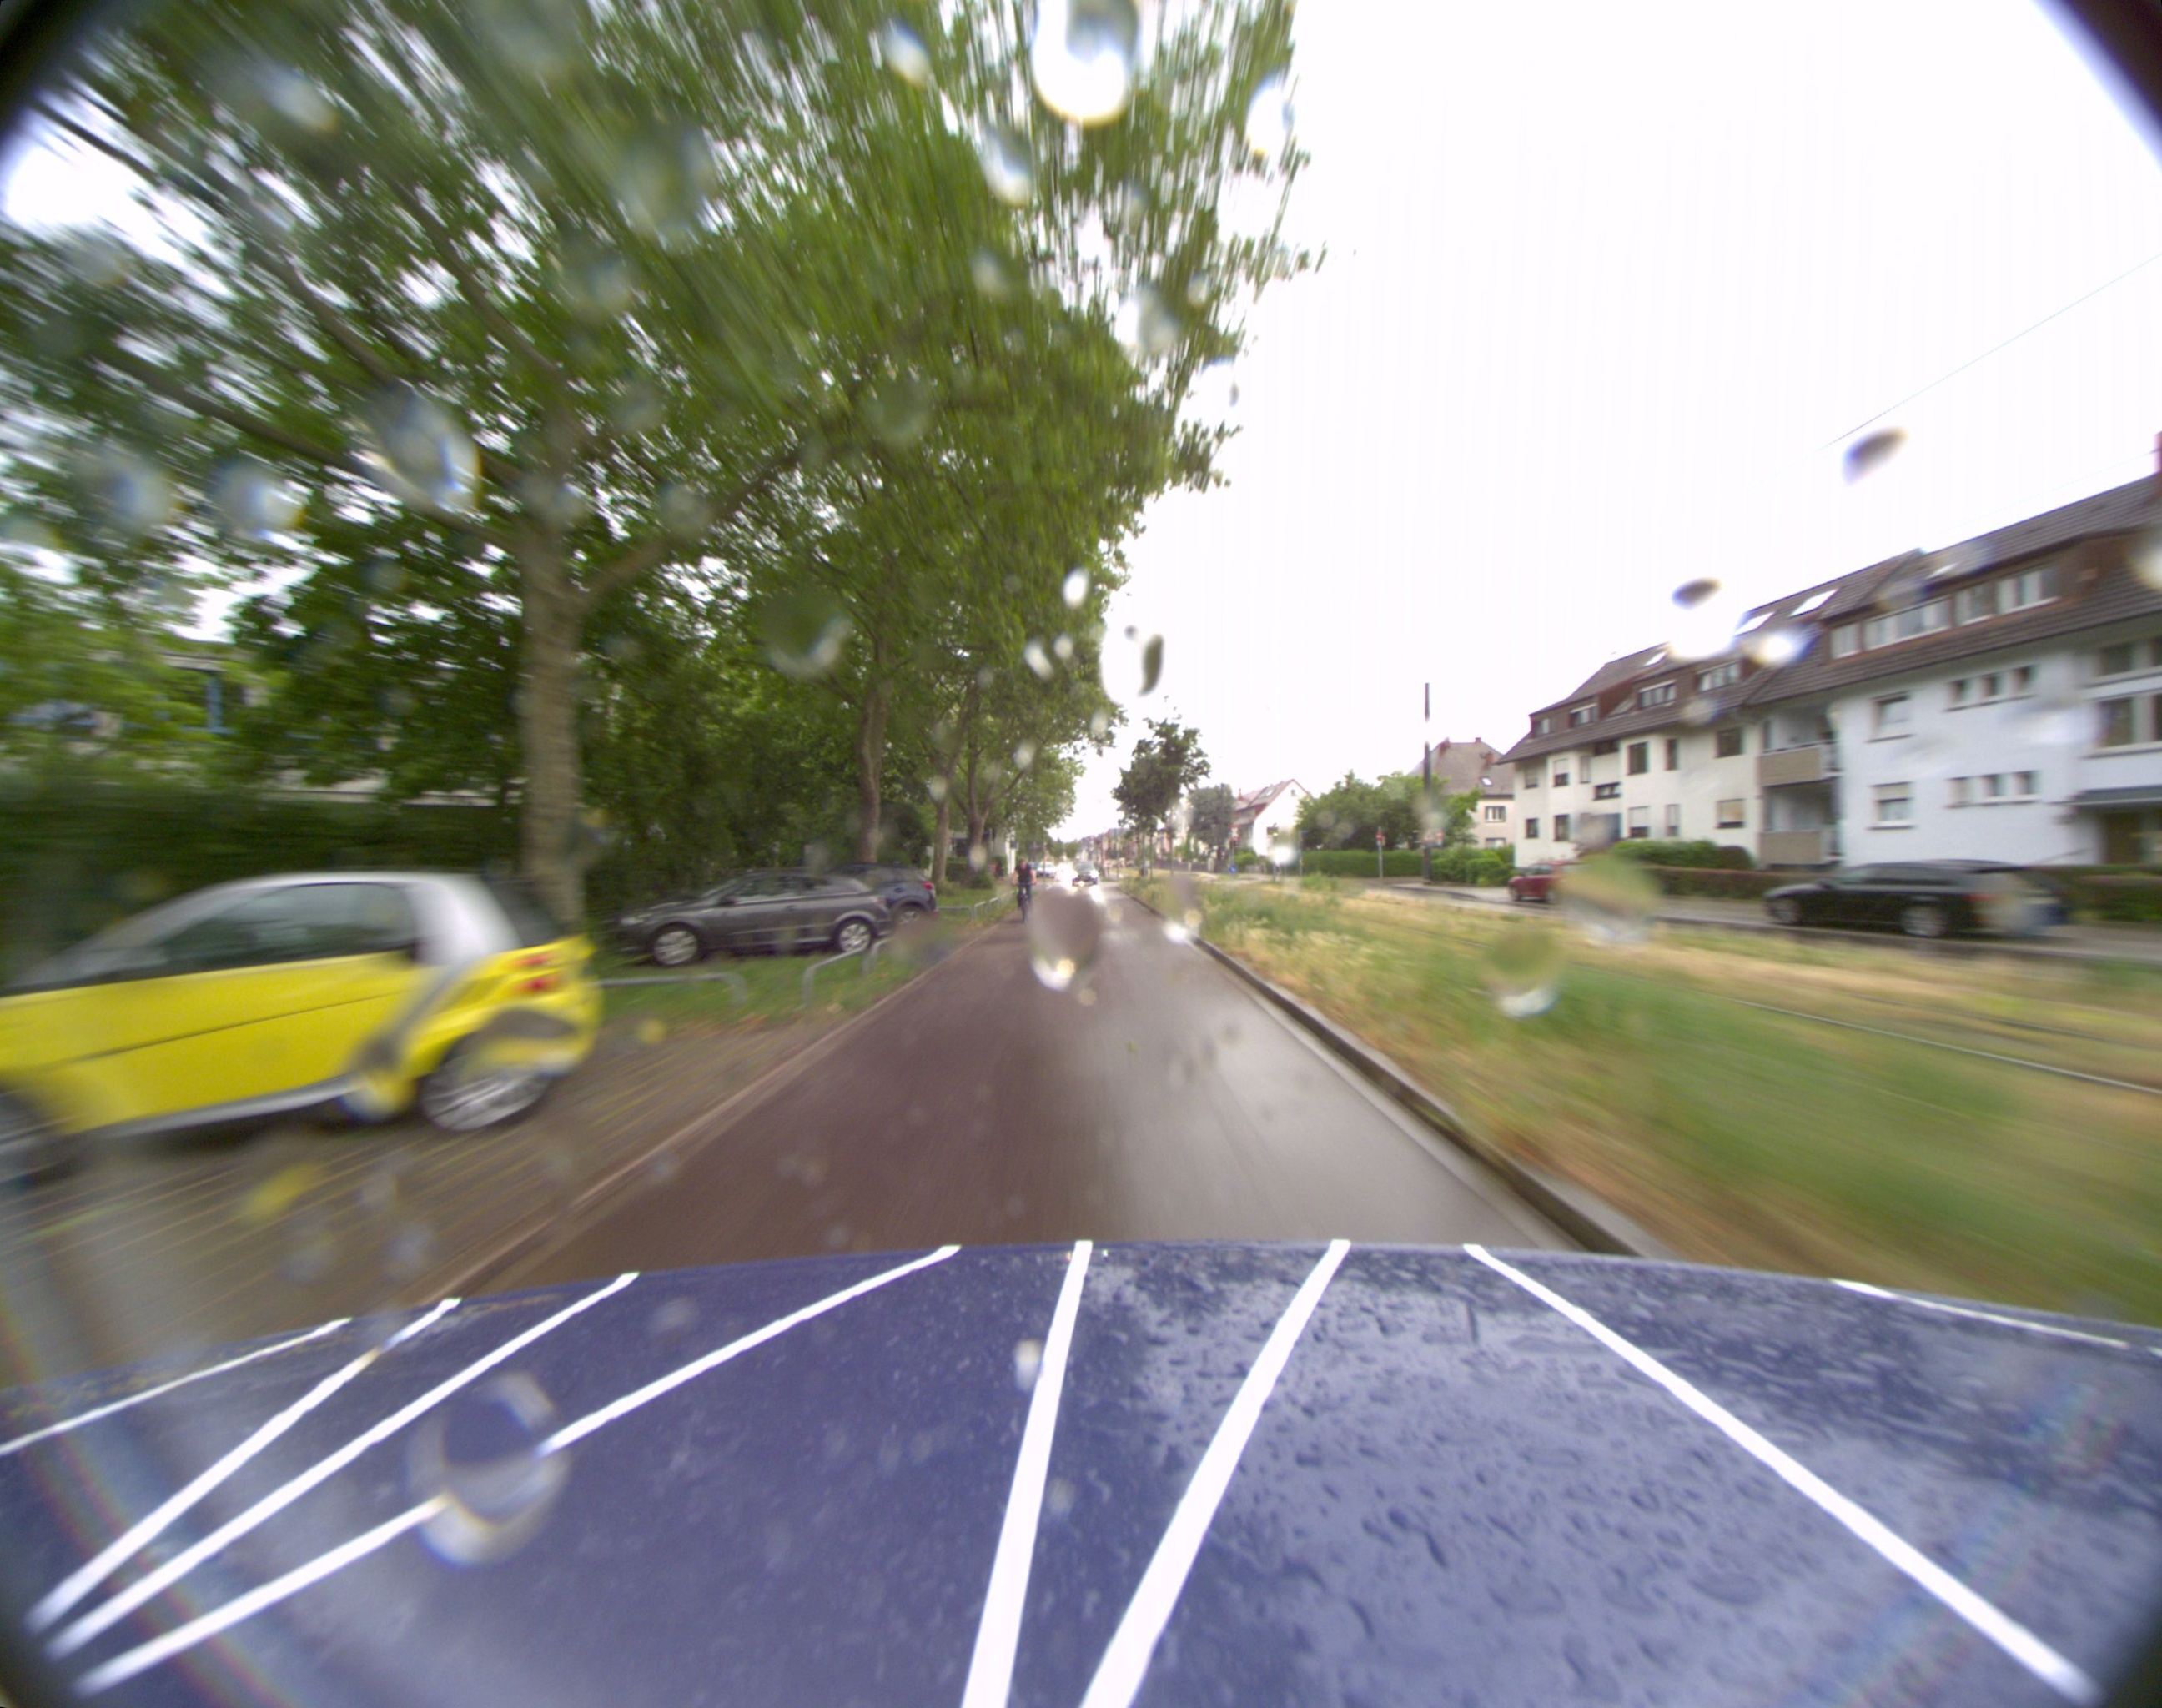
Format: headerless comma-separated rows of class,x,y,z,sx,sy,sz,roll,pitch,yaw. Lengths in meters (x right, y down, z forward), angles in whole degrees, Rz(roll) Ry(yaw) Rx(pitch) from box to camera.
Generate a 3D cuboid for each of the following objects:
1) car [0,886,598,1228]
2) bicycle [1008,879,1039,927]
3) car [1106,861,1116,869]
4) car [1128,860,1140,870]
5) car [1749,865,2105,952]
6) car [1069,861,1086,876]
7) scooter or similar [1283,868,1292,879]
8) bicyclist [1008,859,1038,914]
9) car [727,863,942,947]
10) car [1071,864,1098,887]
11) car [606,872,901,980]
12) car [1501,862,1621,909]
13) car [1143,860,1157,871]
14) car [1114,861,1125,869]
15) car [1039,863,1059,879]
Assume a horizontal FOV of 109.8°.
car,-4.617,0.954,4.420,2.909,1.457,1.600,1,0,-28
bicycle,-1.529,1.280,20.571,0.675,1.136,2.445,-2,0,-1
car,7.180,2.655,183.557,1.999,2.002,3.998,0,0,-5
car,11.695,2.390,167.317,2.000,2.002,3.998,0,0,-7
car,16.558,0.969,15.386,1.998,1.402,4.763,-2,-1,3
car,-0.402,1.546,82.208,1.780,1.477,4.000,2,0,0
scooter or similar,18.163,1.707,66.898,0.347,0.905,1.258,0,0,-5
bicyclist,-1.560,0.858,20.537,0.675,1.421,0.754,-4,0,0
car,-5.005,0.962,15.511,3.811,1.523,1.878,1,-1,-32
car,0.220,1.463,52.893,1.780,1.477,4.000,2,0,0
car,-5.177,1.033,12.231,4.071,1.410,1.737,1,0,-35
car,16.704,1.031,26.692,1.802,1.448,4.001,-2,-1,3
car,13.206,2.176,145.959,1.999,2.002,3.998,0,0,-5
car,9.534,2.629,188.287,2.000,2.002,3.998,0,0,-7
car,-3.138,1.627,74.488,1.780,1.477,4.000,2,0,0
